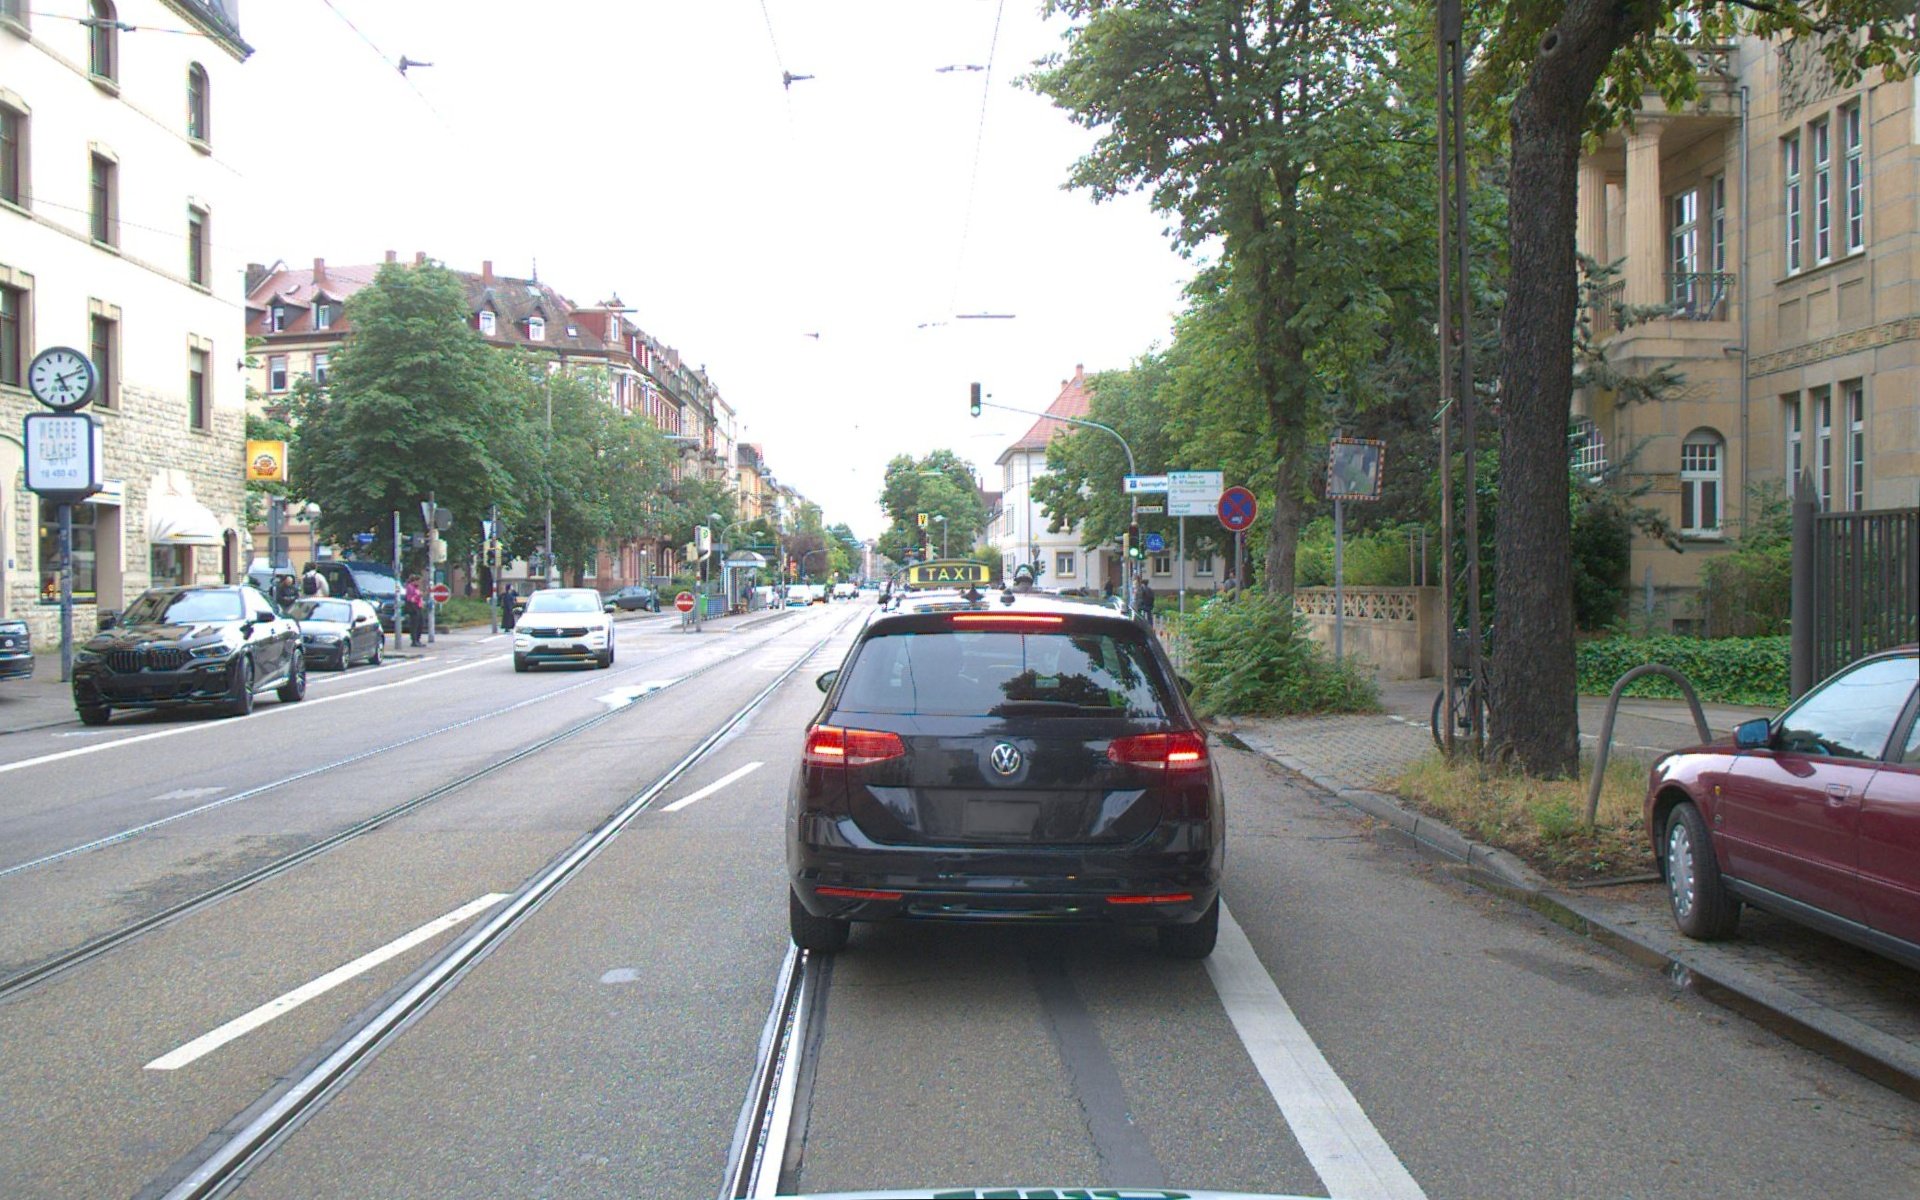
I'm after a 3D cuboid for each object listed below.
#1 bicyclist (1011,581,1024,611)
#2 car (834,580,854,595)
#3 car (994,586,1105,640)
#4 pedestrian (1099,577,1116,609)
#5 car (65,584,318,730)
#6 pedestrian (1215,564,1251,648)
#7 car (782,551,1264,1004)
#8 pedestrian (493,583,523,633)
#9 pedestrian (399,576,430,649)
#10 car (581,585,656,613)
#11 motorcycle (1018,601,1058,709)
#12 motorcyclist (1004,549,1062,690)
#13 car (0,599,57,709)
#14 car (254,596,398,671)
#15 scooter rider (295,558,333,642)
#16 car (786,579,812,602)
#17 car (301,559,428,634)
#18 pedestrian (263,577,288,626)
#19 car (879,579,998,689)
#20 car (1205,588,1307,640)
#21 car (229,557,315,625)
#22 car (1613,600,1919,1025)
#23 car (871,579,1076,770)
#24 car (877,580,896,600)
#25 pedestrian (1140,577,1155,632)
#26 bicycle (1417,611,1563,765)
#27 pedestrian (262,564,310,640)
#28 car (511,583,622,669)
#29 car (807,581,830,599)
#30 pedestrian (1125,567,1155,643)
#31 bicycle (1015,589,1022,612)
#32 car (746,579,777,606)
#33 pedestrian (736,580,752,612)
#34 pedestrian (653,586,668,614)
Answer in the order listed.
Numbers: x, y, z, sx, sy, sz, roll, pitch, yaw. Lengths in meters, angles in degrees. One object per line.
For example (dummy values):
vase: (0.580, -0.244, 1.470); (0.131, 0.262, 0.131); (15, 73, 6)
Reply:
bicyclist: (3.152, -0.226, 90.954); (0.637, 1.595, 0.696); (-1, 0, 5)
car: (-12.227, -1.328, 174.120); (1.758, 1.624, 4.000); (-1, 1, 0)
car: (2.605, 0.347, 47.164); (1.854, 1.432, 3.998); (-1, 1, 24)
pedestrian: (7.337, -0.374, 82.114); (0.604, 1.581, 0.575); (0, 0, -41)
car: (-10.114, 0.668, 22.191); (1.849, 1.639, 4.875); (-3, 1, -11)
pedestrian: (6.109, 0.129, 37.057); (0.619, 1.846, 0.725); (0, 0, -5)
car: (0.153, 0.597, 7.777); (1.689, 1.573, 3.998); (0, 1, -2)
pedestrian: (-15.351, 0.259, 56.171); (0.819, 1.692, 0.591); (0, 0, -1)
pedestrian: (-14.244, 0.319, 43.189); (0.610, 1.874, 0.609); (0, 0, -5)
car: (-20.415, -0.083, 98.994); (3.966, 1.624, 1.969); (-1, 1, -42)
motorcycle: (0.964, 0.659, 20.677); (0.437, 1.257, 1.907); (-1, 1, 1)
motorcyclist: (0.906, 0.236, 20.663); (0.688, 1.722, 0.804); (-1, 0, 1)
car: (-14.706, 0.633, 21.925); (4.341, 1.394, 1.878); (2, 0, -7)
car: (-13.080, 0.656, 34.358); (1.616, 1.385, 4.126); (2, 0, -4)
scooter rider: (-15.850, -0.003, 40.599); (0.629, 2.049, 0.757); (-1, 0, -4)
car: (-11.791, -0.702, 121.283); (1.686, 1.651, 3.862); (-1, 1, -3)
car: (-20.561, -0.140, 56.986); (2.169, 2.459, 5.292); (-1, 1, -44)
pedestrian: (-24.884, 0.054, 60.092); (0.694, 1.745, 0.544); (-1, 0, -42)
car: (-0.377, 0.467, 25.653); (1.689, 1.573, 3.998); (0, 1, -2)
car: (9.729, 0.450, 54.183); (1.957, 1.605, 3.990); (1, 0, 32)
car: (-27.210, -0.368, 65.330); (2.160, 2.571, 5.317); (-1, 1, -34)
car: (4.167, 0.766, 6.244); (1.570, 1.423, 4.226); (-2, 1, -2)
car: (0.042, 0.592, 15.608); (1.689, 1.573, 3.998); (0, 1, -2)
car: (-7.876, -1.074, 178.455); (1.992, 2.049, 3.998); (1, 0, -2)
pedestrian: (6.449, 0.159, 56.810); (0.408, 1.862, 0.516); (-3, 0, 8)
bicycle: (4.507, 0.713, 13.988); (0.425, 1.219, 1.892); (0, -1, 42)
pedestrian: (-18.460, 0.042, 45.338); (0.954, 2.049, 0.835); (-1, 0, -3)
car: (-7.631, 0.457, 32.375); (1.666, 1.522, 3.924); (-2, 1, -7)
car: (-11.747, -0.820, 137.496); (1.686, 1.490, 3.862); (-1, 1, -3)
pedestrian: (4.565, 0.122, 41.981); (0.573, 1.862, 0.604); (-3, 0, -1)
bicycle: (3.221, 0.031, 90.966); (0.291, 1.244, 1.431); (-1, 0, 5)
car: (-12.607, -0.500, 105.308); (1.686, 1.651, 3.862); (-1, 1, -3)
pedestrian: (-10.469, -0.188, 80.114); (0.699, 1.547, 0.589); (0, 0, -1)
pedestrian: (-17.028, -0.007, 94.105); (0.577, 1.547, 0.647); (0, 0, 33)
